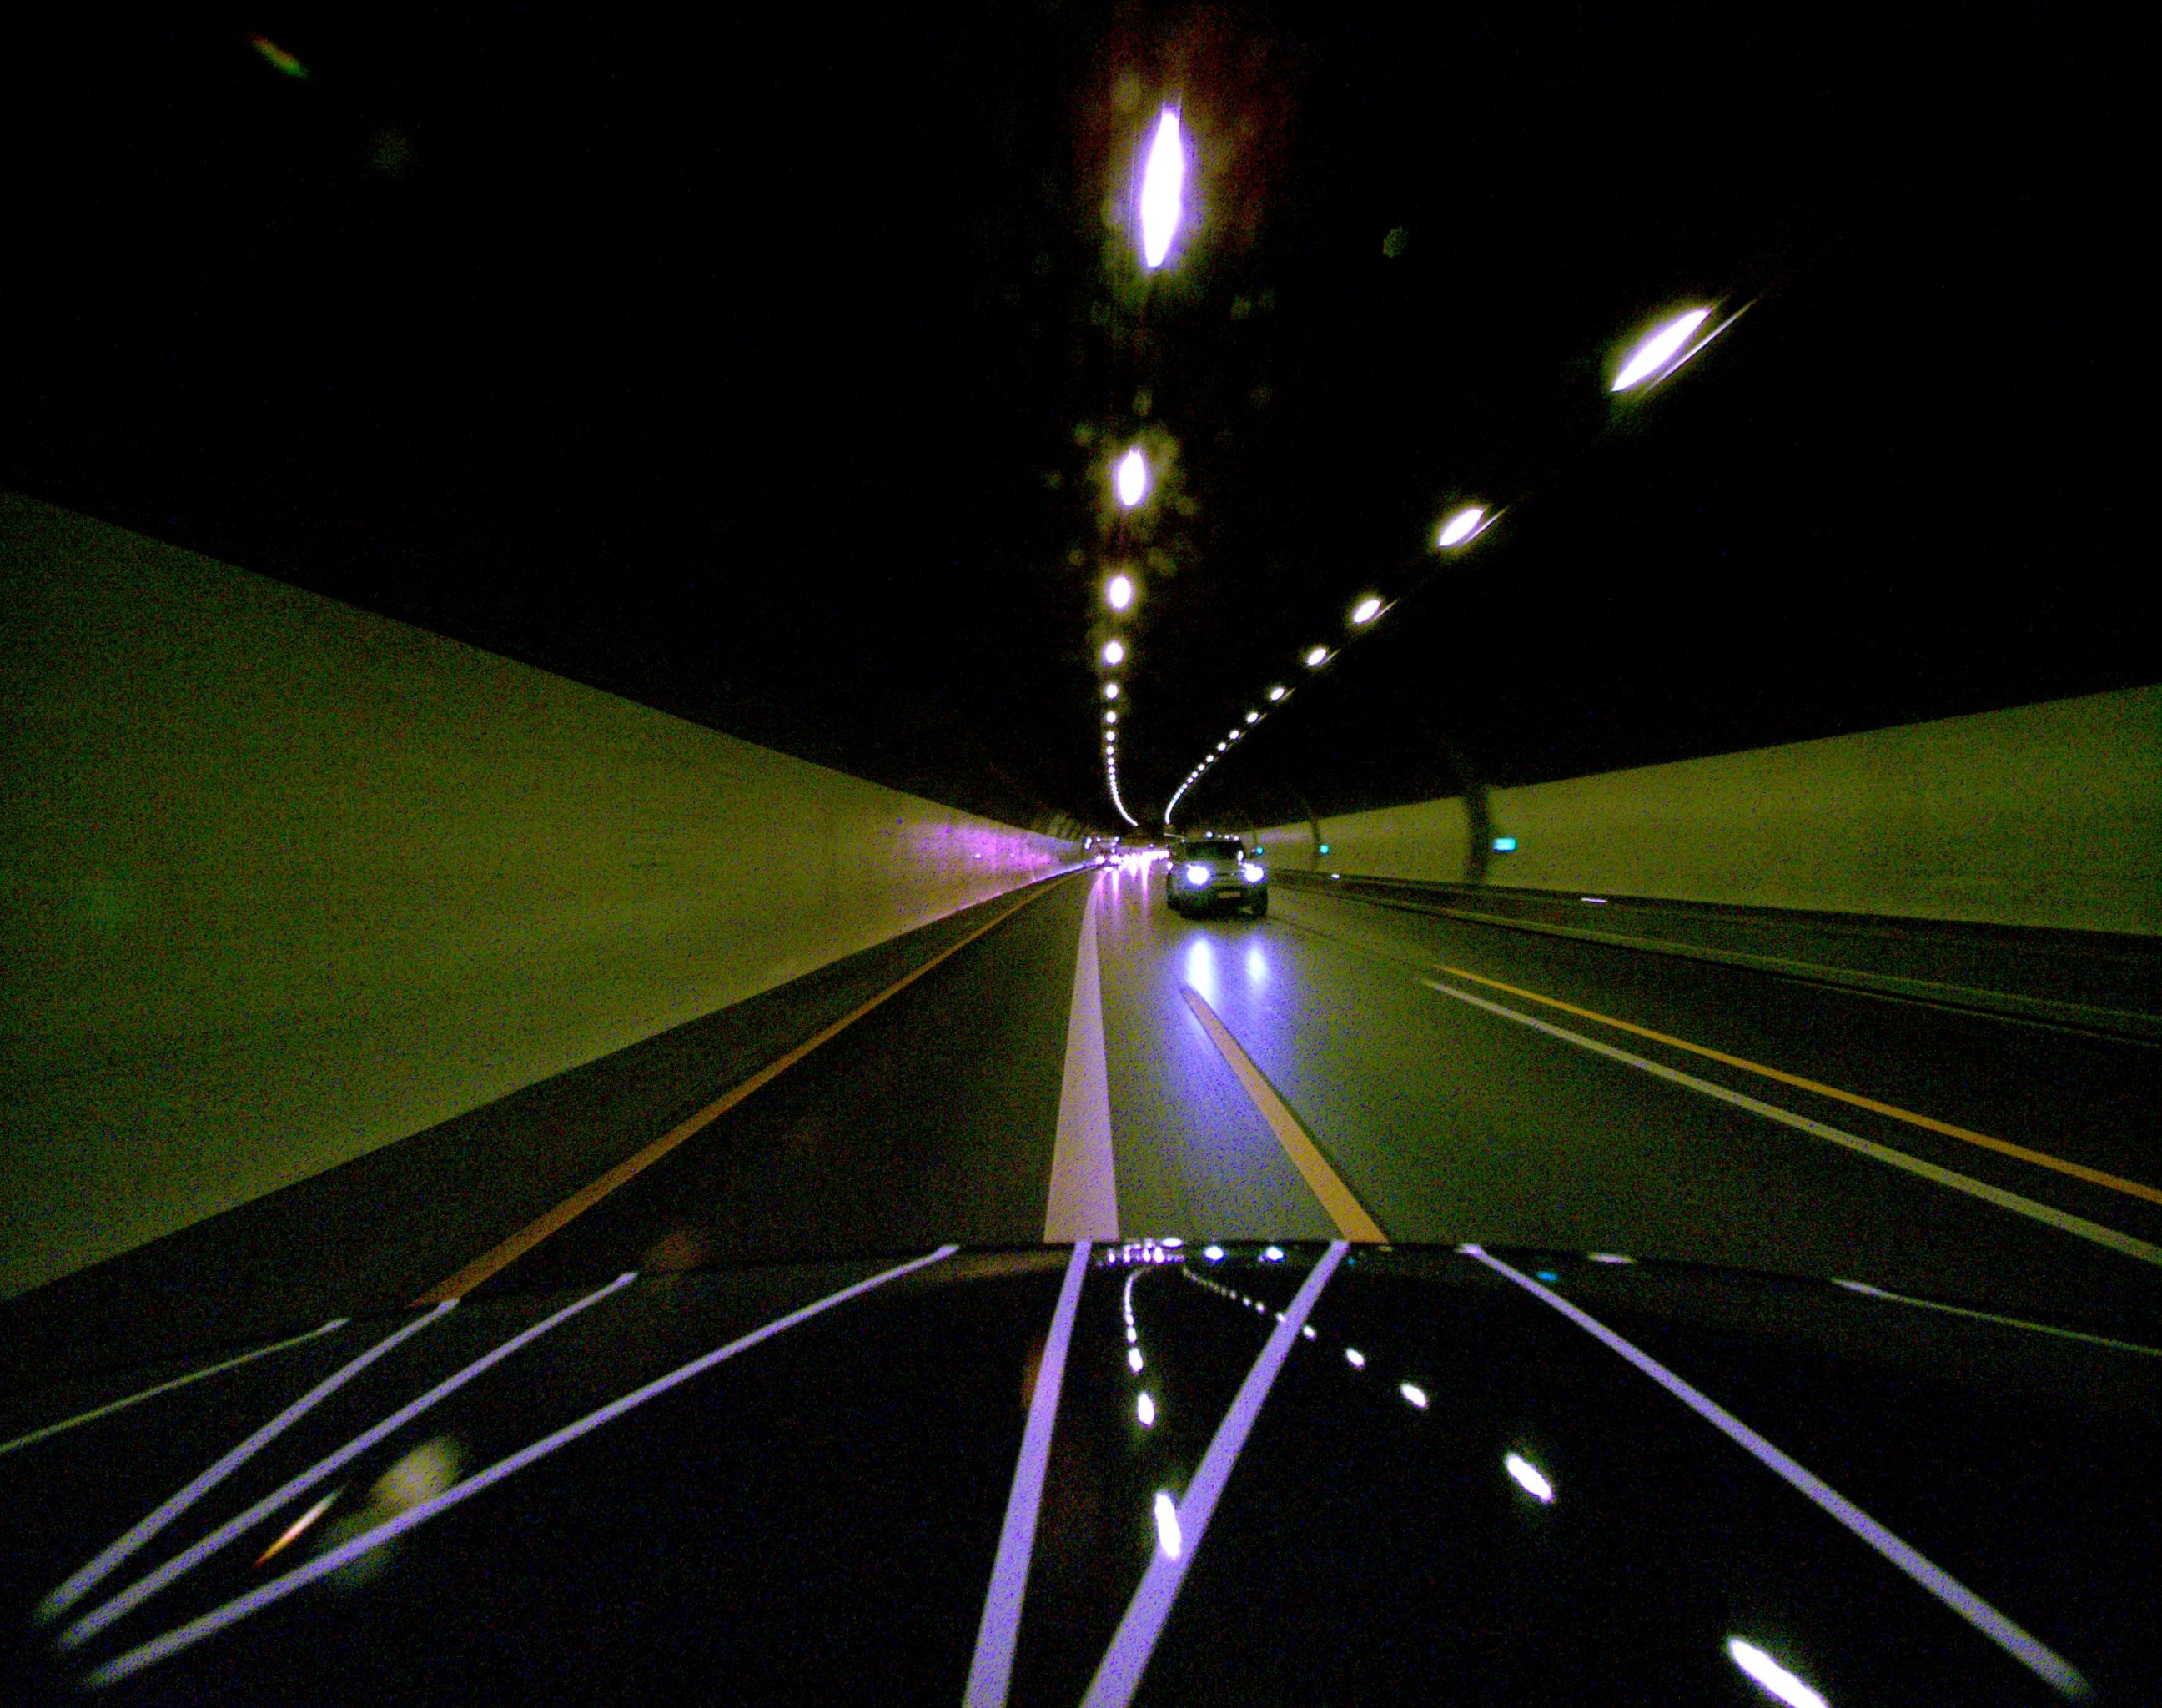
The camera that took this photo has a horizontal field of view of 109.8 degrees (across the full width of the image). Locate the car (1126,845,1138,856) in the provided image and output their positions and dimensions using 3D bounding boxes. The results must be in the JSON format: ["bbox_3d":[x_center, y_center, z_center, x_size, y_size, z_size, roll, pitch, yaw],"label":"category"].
[{"bbox_3d":[10.430,-0.696,155.252,1.997,2.002,4.002,-3,0,7],"label":"car"}]

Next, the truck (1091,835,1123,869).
[{"bbox_3d":[2.814,-0.247,79.523,2.988,3.161,10.509,-3,0,3],"label":"truck"}]

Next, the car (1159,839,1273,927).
[{"bbox_3d":[3.247,0.615,19.421,1.998,1.884,5.453,-2,1,1],"label":"car"}]

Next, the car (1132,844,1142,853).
[{"bbox_3d":[12.829,-1.310,174.765,1.998,1.917,4.385,-1,0,2],"label":"car"}]

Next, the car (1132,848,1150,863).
[{"bbox_3d":[7.568,0.191,95.420,2.171,1.709,4.482,-3,0,5],"label":"car"}]

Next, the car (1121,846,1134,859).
[{"bbox_3d":[7.715,-0.224,127.235,1.998,2.002,4.000,-3,0,2],"label":"car"}]
